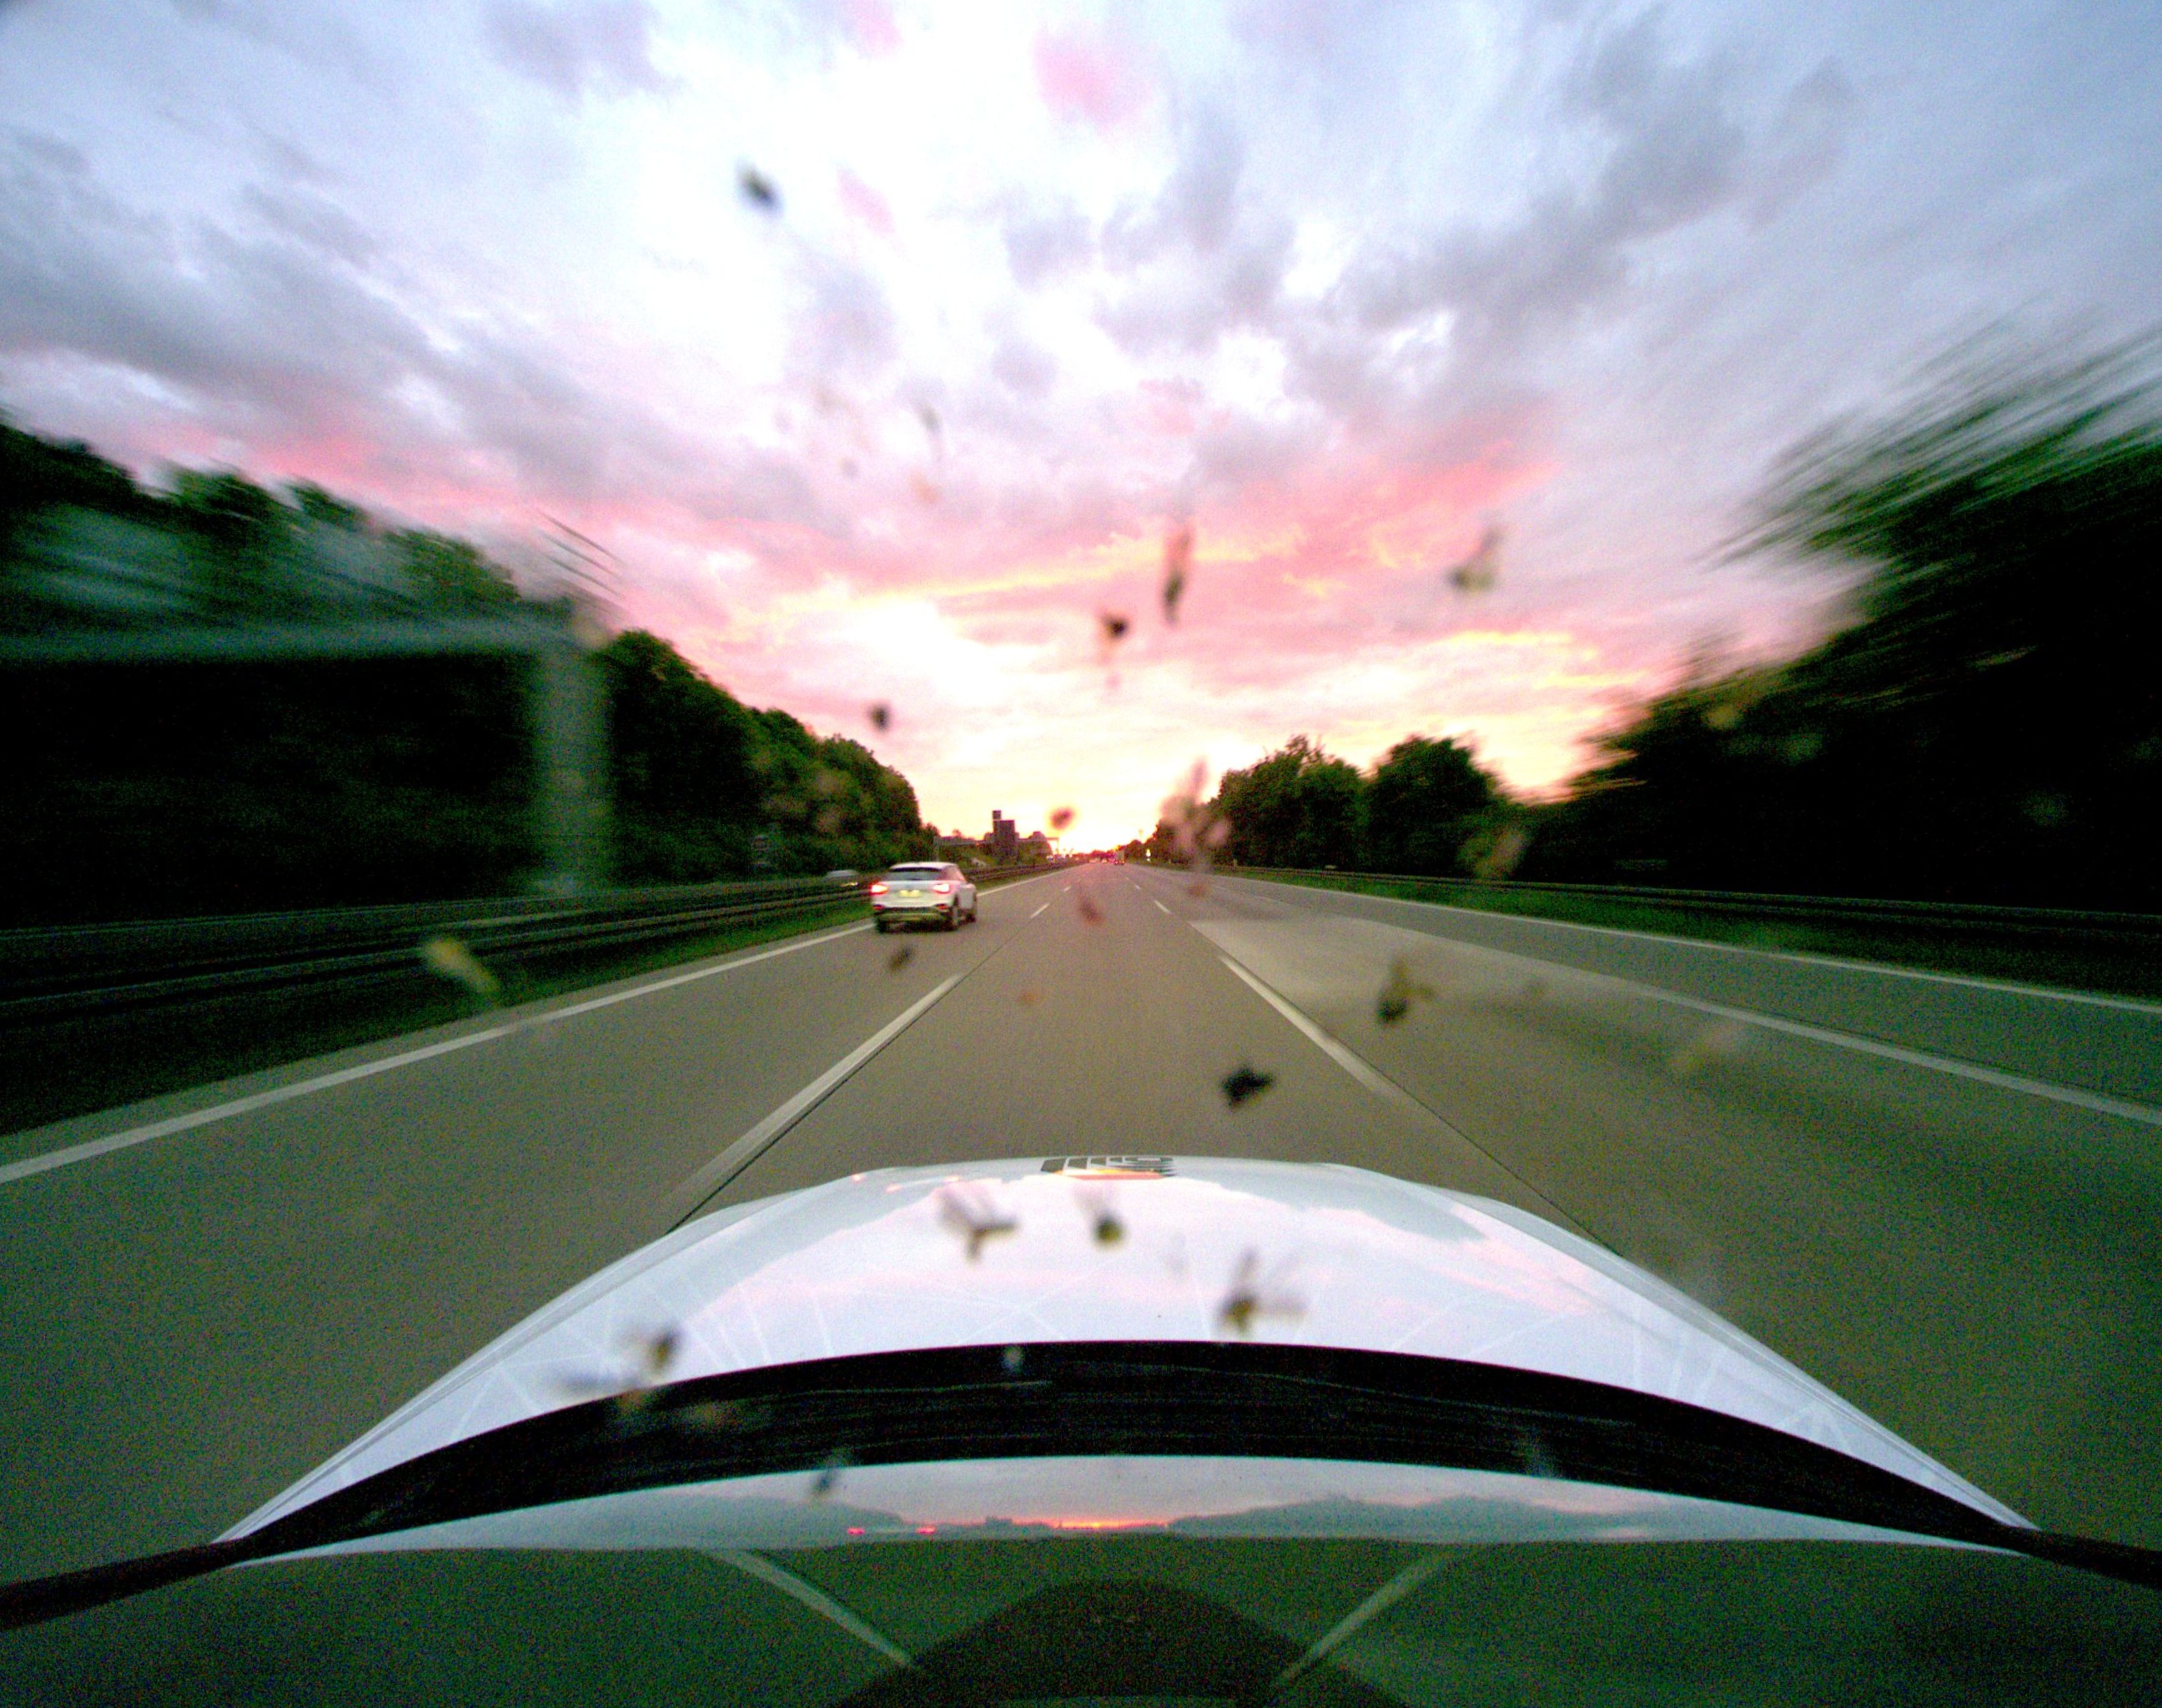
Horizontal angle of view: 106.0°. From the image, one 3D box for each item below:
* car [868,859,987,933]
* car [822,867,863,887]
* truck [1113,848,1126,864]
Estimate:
[{"bbox_3d":[-3.501,0.893,19.536,1.783,1.501,5.038,0,0,1],"label":"car"},{"bbox_3d":[-18.754,1.781,64.198,1.756,1.481,4.391,-1,0,1],"label":"car"},{"bbox_3d":[10.159,0.478,217.486,3.232,4.127,9.791,-2,-1,2],"label":"truck"}]
